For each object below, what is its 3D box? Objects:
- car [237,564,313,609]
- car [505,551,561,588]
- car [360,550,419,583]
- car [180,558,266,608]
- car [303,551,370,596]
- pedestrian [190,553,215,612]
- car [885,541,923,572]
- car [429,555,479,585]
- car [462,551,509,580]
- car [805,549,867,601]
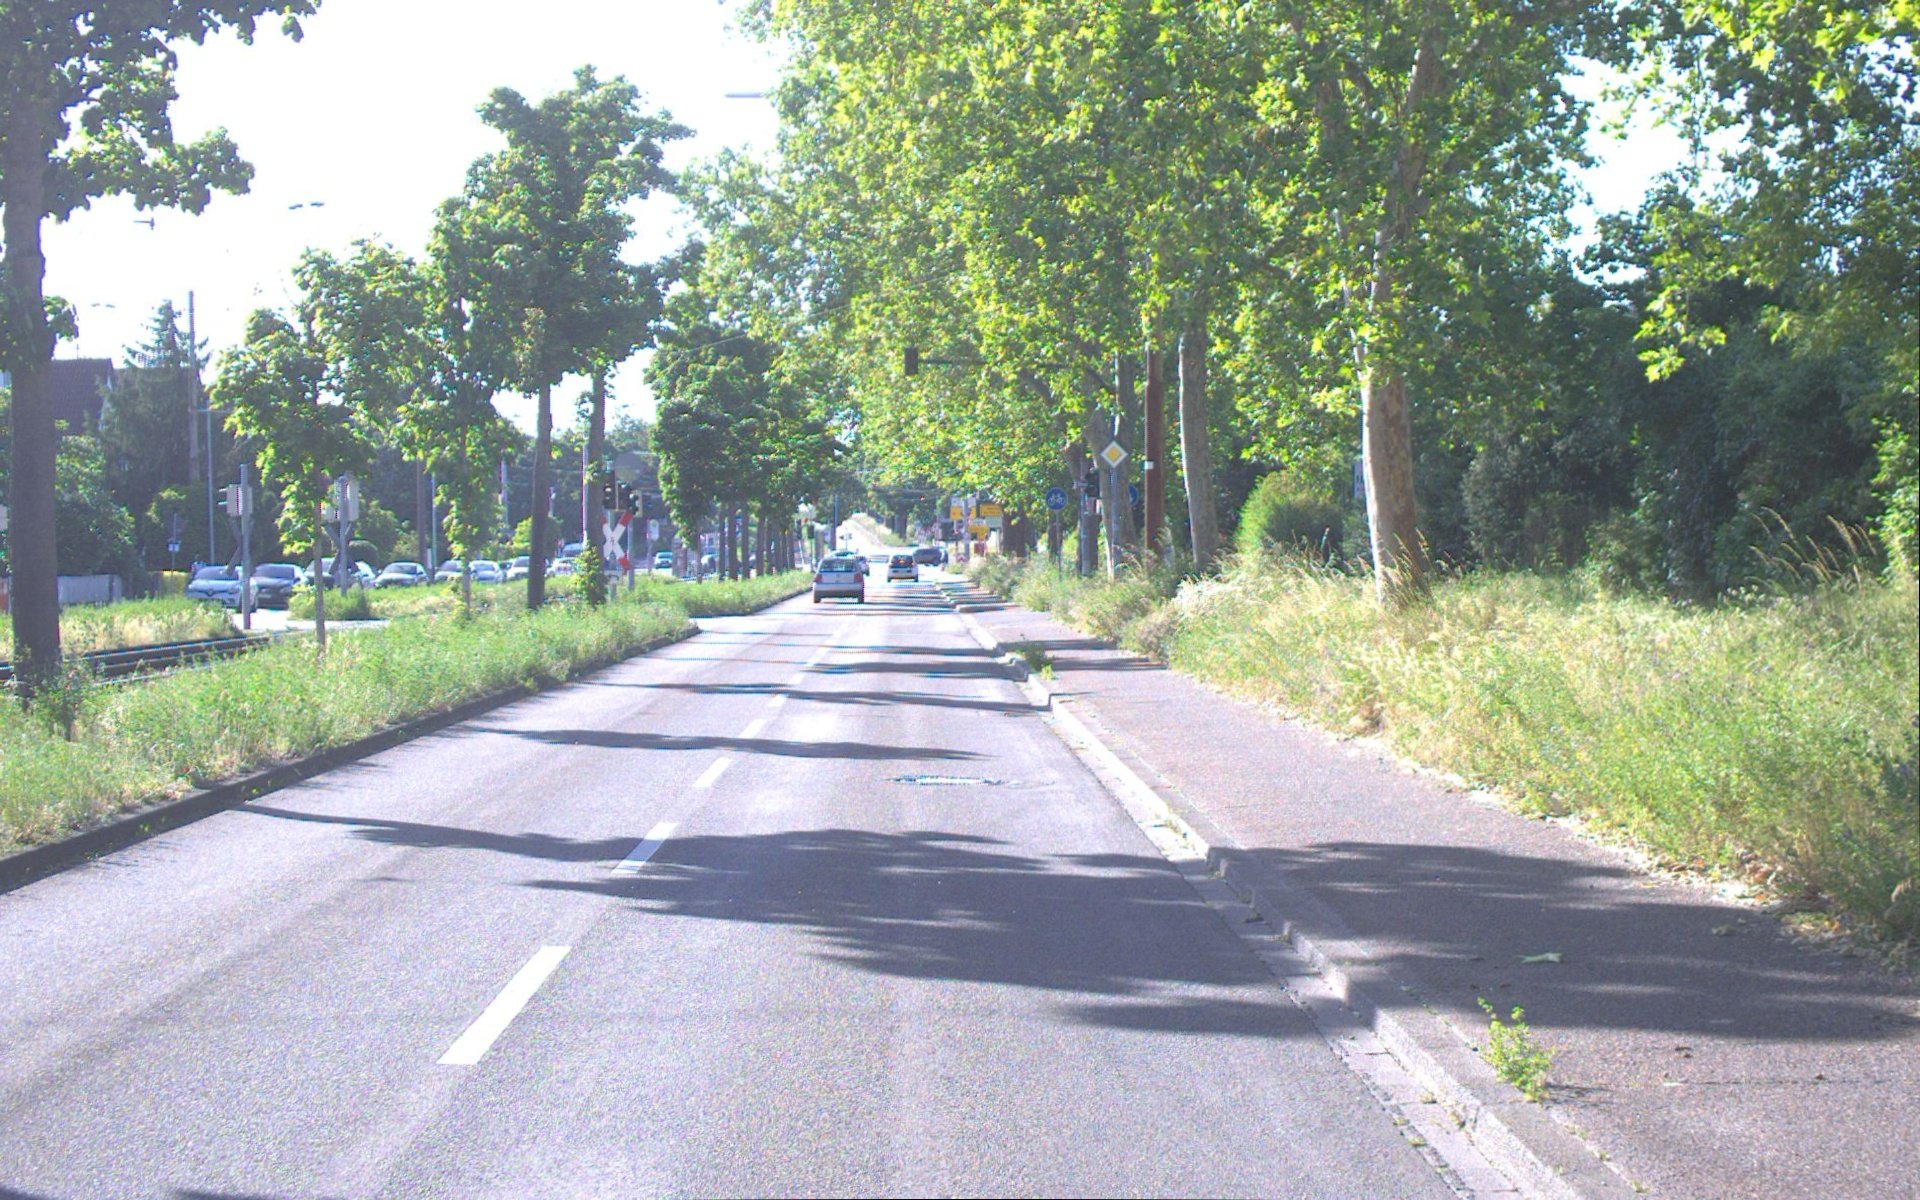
[{"bbox_3d":[-23.232,-0.473,116.665,1.729,1.461,4.603,1,1,-1],"label":"car"},{"bbox_3d":[-19.126,-1.355,154.154,1.993,1.598,4.474,1,1,-1],"label":"car"},{"bbox_3d":[-24.406,-1.426,147.197,1.860,1.365,4.228,1,1,-1],"label":"car"},{"bbox_3d":[-23.092,-0.545,107.848,1.860,1.537,4.228,1,1,-1],"label":"car"},{"bbox_3d":[-23.168,-0.991,127.824,1.748,1.645,4.555,1,1,-1],"label":"car"},{"bbox_3d":[-25.778,-0.588,116.946,0.680,2.007,0.772,1,0,-1],"label":"pedestrian"},{"bbox_3d":[-2.990,-2.314,183.925,1.993,1.598,4.474,1,1,-1],"label":"car"},{"bbox_3d":[-24.384,-1.447,165.872,1.860,1.408,4.159,1,1,-1],"label":"car"},{"bbox_3d":[-24.289,-1.757,176.146,1.860,1.426,4.462,1,1,-1],"label":"car"},{"bbox_3d":[-3.916,-0.789,109.076,1.860,1.595,4.228,1,1,-1],"label":"car"}]
